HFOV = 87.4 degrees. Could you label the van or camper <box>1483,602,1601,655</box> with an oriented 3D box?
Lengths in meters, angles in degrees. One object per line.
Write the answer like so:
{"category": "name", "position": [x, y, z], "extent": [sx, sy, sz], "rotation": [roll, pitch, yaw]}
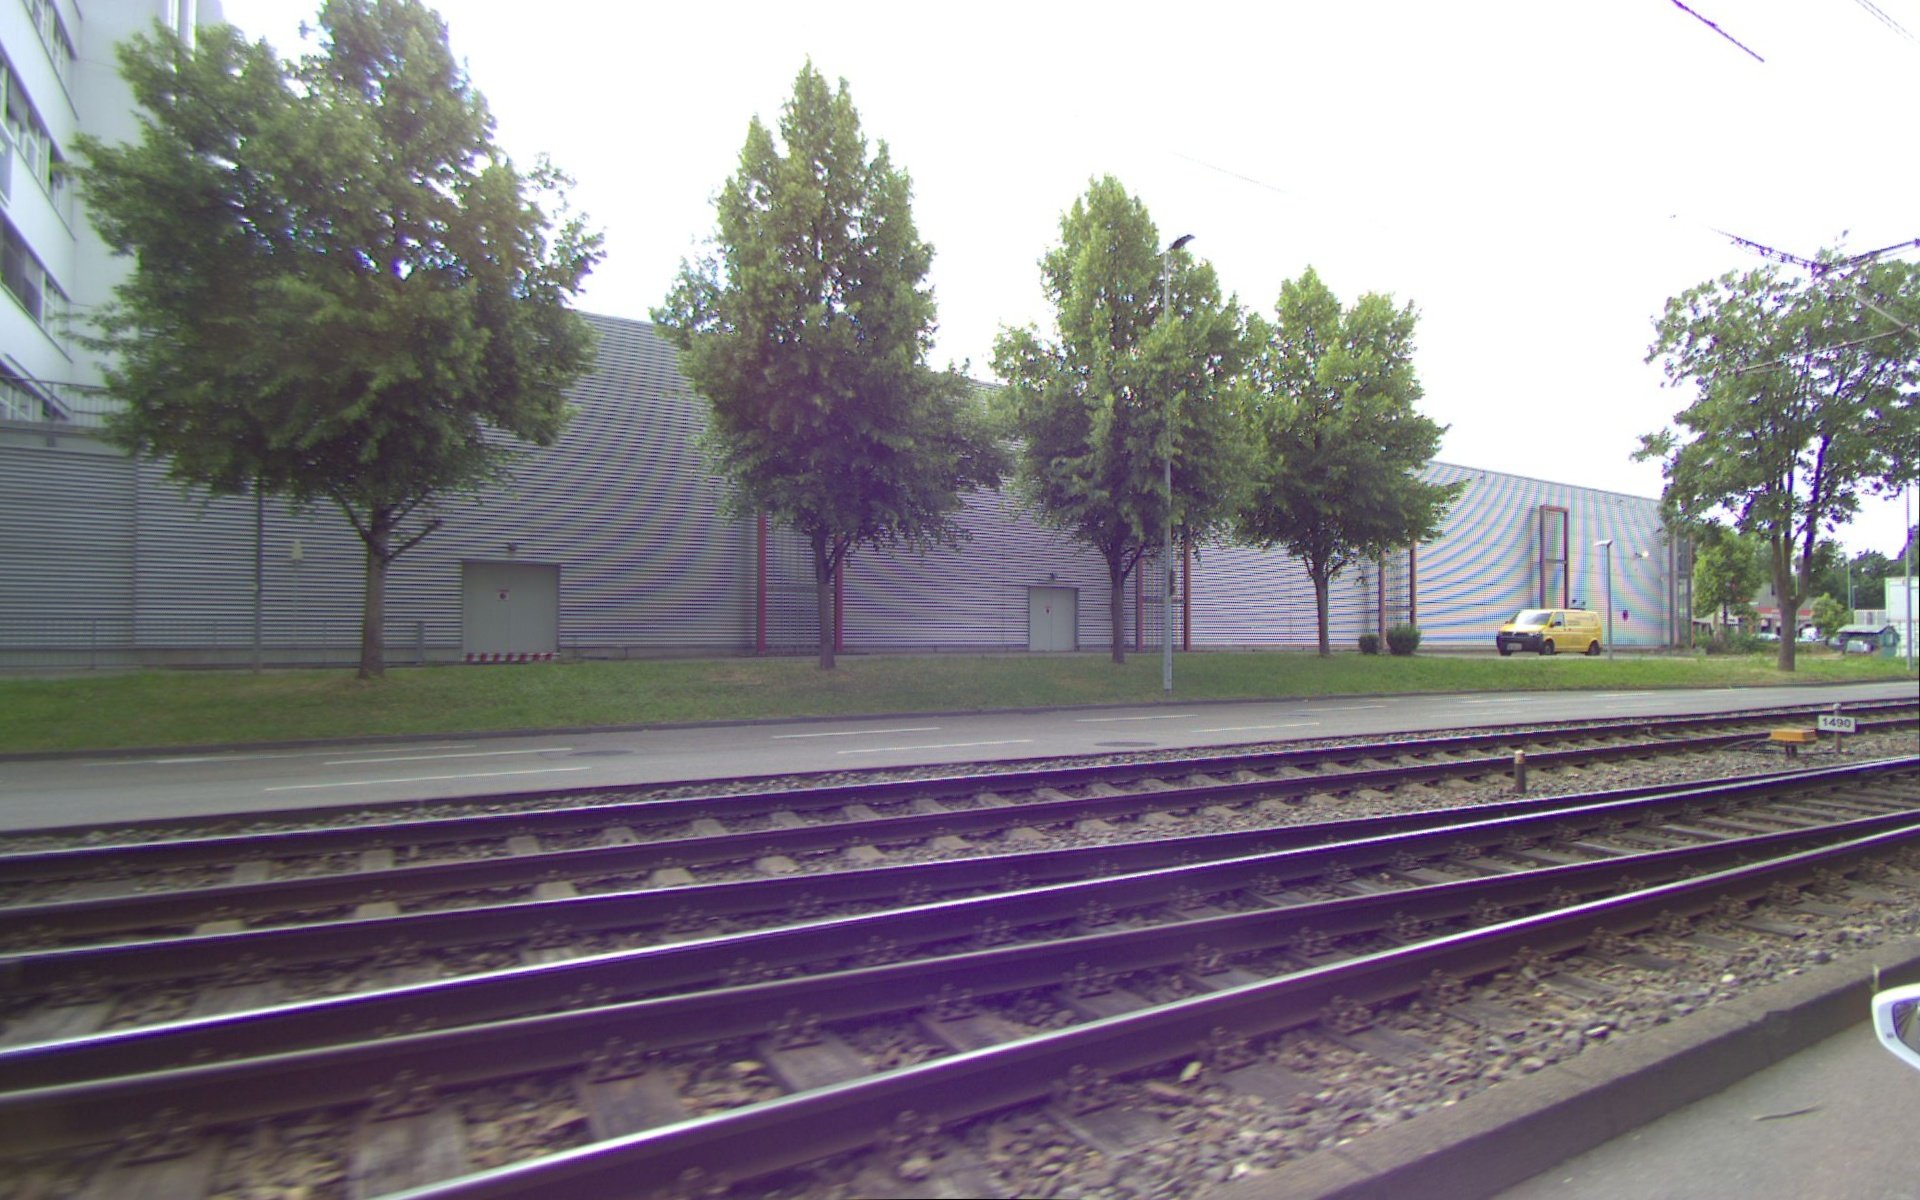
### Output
{"category": "van or camper", "position": [23.779, 1.177, 40.986], "extent": [5.186, 2.040, 2.091], "rotation": [1, -1, -33]}
